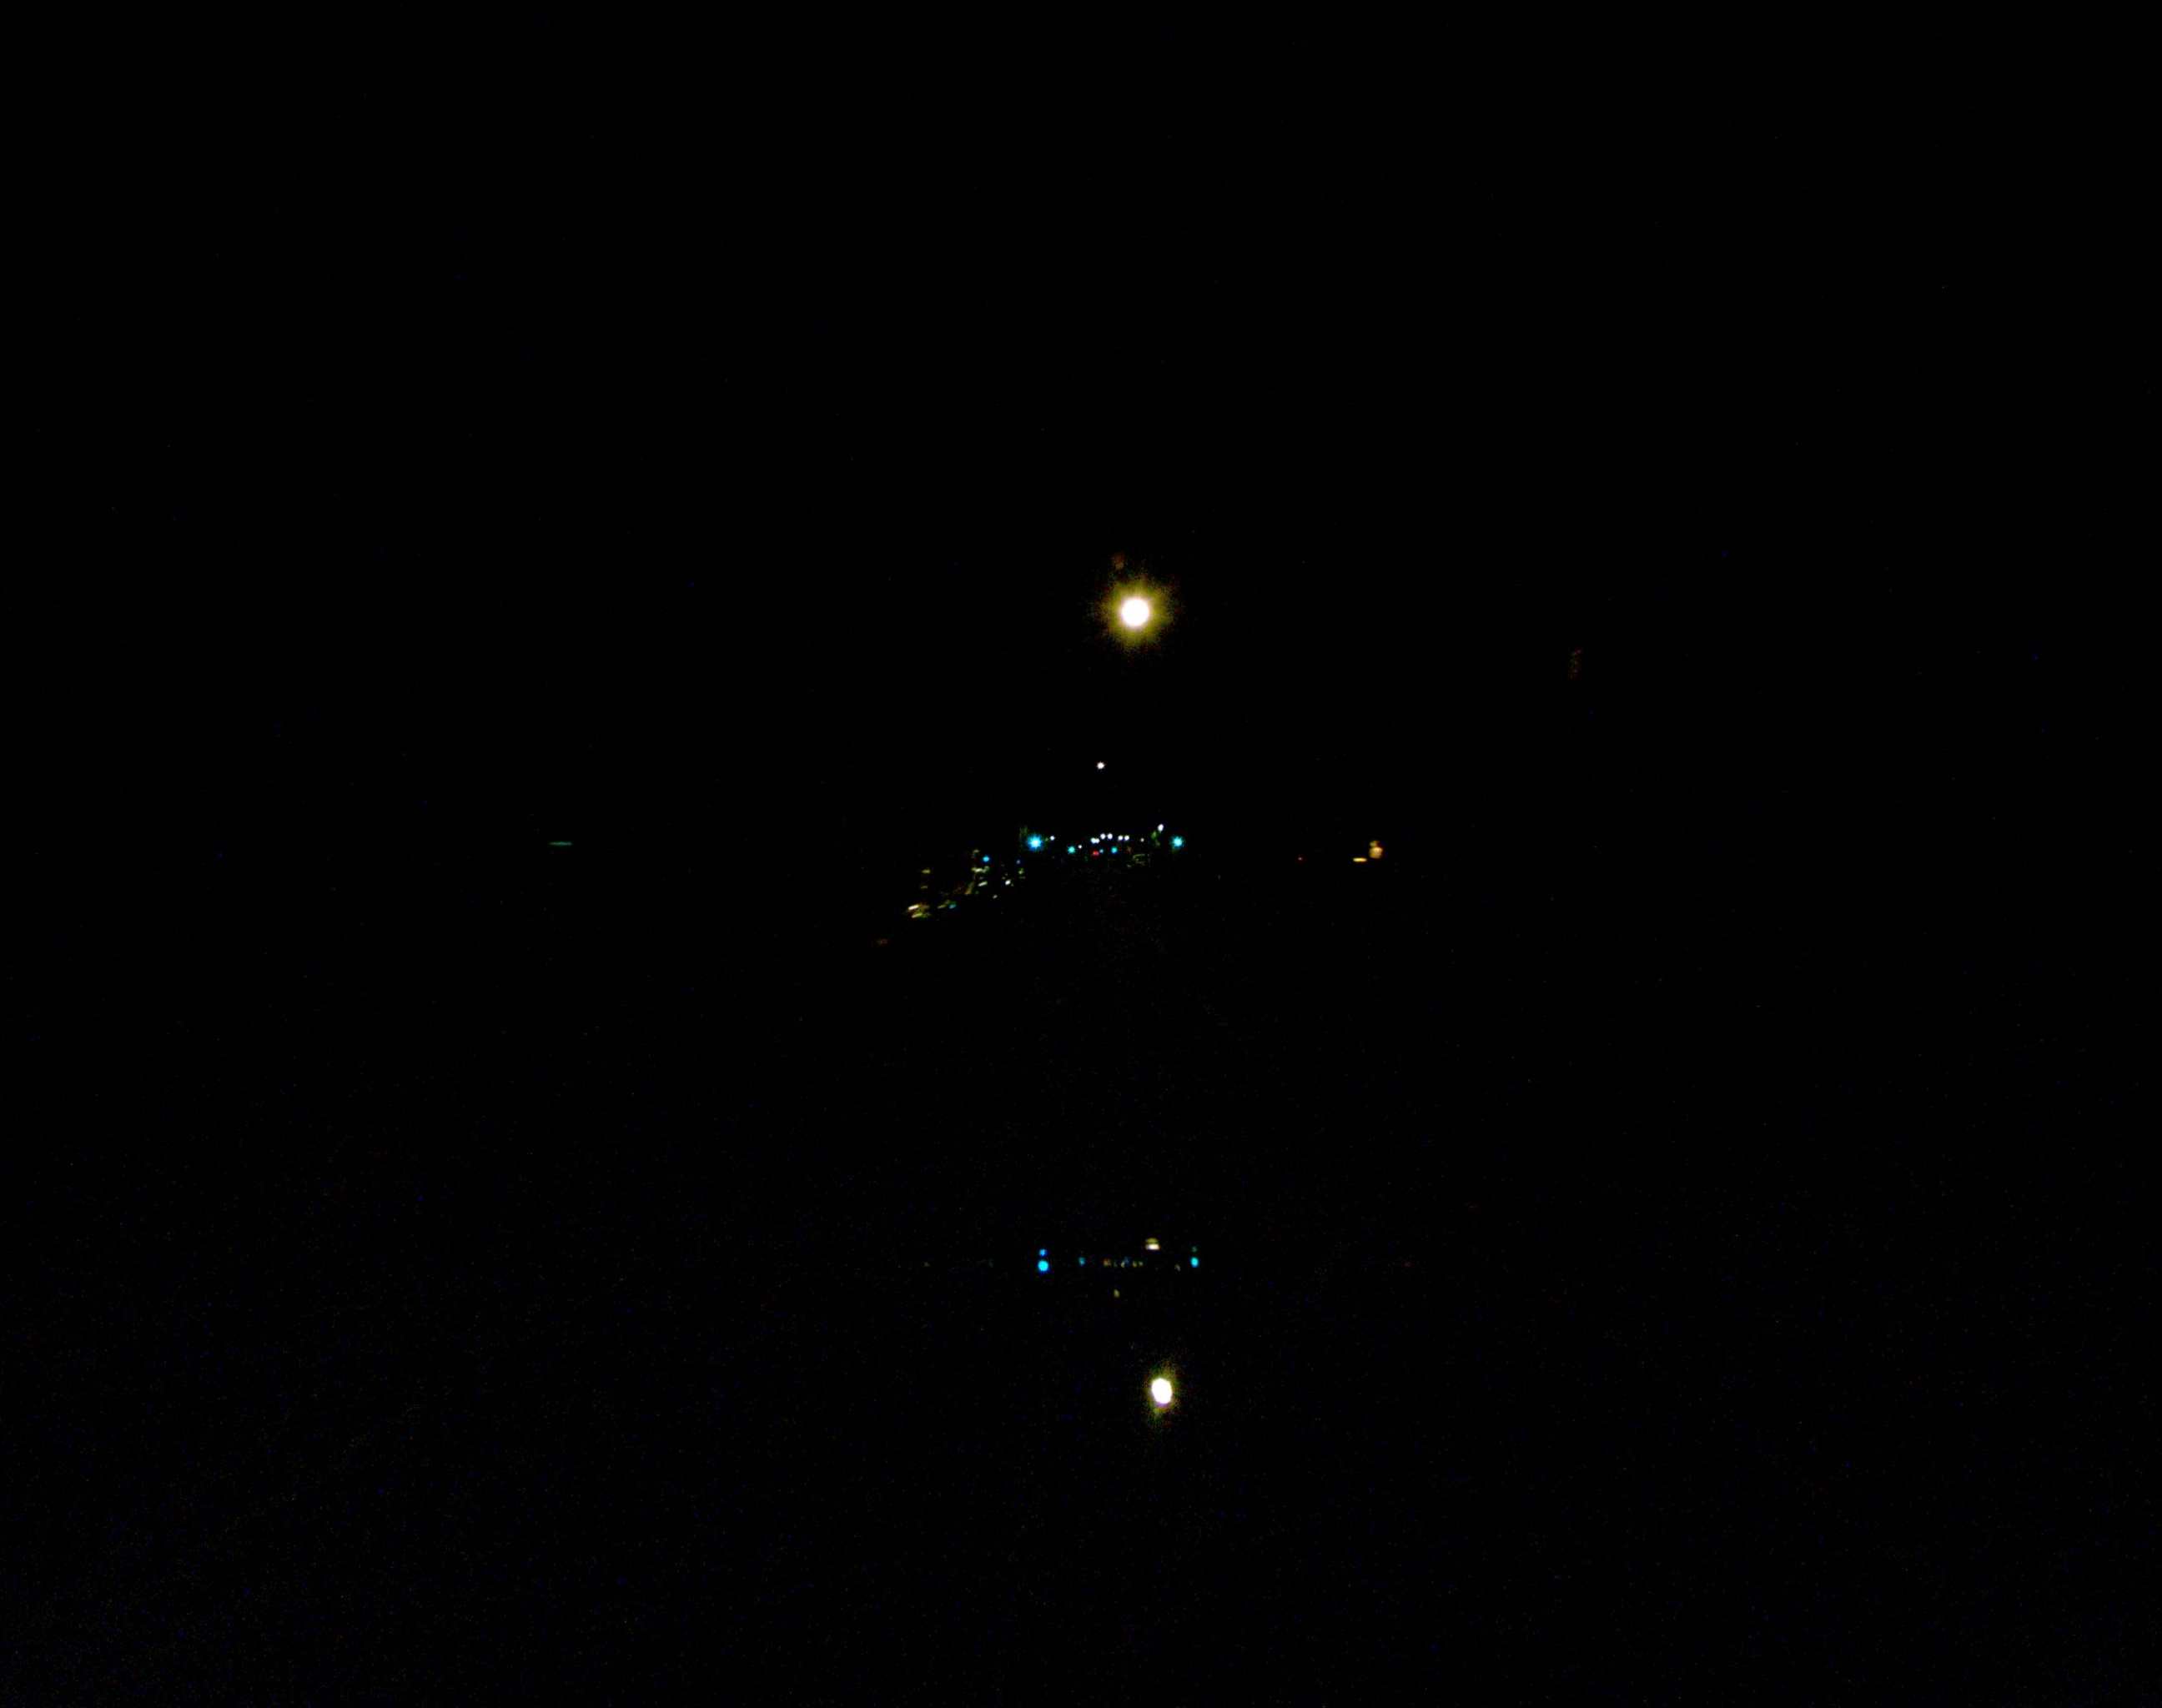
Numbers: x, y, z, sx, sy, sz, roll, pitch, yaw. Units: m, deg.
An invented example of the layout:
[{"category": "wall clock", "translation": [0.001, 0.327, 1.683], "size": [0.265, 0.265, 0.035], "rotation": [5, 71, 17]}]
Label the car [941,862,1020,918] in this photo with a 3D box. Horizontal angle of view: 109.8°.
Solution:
[{"category": "car", "translation": [-2.881, 0.991, 22.619], "size": [1.690, 1.412, 4.443], "rotation": [1, 0, 0]}]

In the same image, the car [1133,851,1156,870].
[{"category": "car", "translation": [6.280, 0.592, 76.095], "size": [1.888, 1.832, 4.814], "rotation": [0, 0, 0]}]

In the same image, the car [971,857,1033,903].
[{"category": "car", "translation": [-2.809, 0.904, 27.922], "size": [1.744, 1.469, 4.000], "rotation": [2, 0, 1]}]

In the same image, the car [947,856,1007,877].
[{"category": "car", "translation": [-7.431, 0.861, 54.487], "size": [4.025, 1.414, 1.851], "rotation": [0, 2, -1]}]

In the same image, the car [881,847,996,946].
[{"category": "car", "translation": [-2.923, 0.796, 16.438], "size": [1.740, 1.844, 4.315], "rotation": [1, 0, -1]}]

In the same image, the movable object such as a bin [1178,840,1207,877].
[{"category": "movable object such as a bin", "translation": [8.045, 0.312, 55.184], "size": [1.575, 2.611, 3.910], "rotation": [1, 0, 2]}]

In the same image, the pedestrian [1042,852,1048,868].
[{"category": "pedestrian", "translation": [-3.801, 0.623, 79.943], "size": [0.508, 1.699, 0.705], "rotation": [0, 1, 1]}]

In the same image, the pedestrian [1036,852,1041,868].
[{"category": "pedestrian", "translation": [-4.511, 0.597, 79.813], "size": [0.478, 1.699, 0.571], "rotation": [0, 1, 1]}]

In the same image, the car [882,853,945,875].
[{"category": "car", "translation": [-12.211, 0.718, 55.476], "size": [4.203, 1.459, 1.851], "rotation": [1, 1, -3]}]

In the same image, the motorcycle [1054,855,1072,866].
[{"category": "motorcycle", "translation": [-2.090, 0.775, 89.358], "size": [1.948, 1.345, 0.761], "rotation": [0, 1, -35]}]

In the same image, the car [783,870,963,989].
[{"category": "car", "translation": [-2.967, 1.003, 11.790], "size": [1.732, 1.410, 4.322], "rotation": [0, 0, -2]}]

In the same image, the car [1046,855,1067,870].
[{"category": "car", "translation": [-2.415, 0.840, 75.895], "size": [1.740, 1.446, 4.000], "rotation": [0, 0, 3]}]
